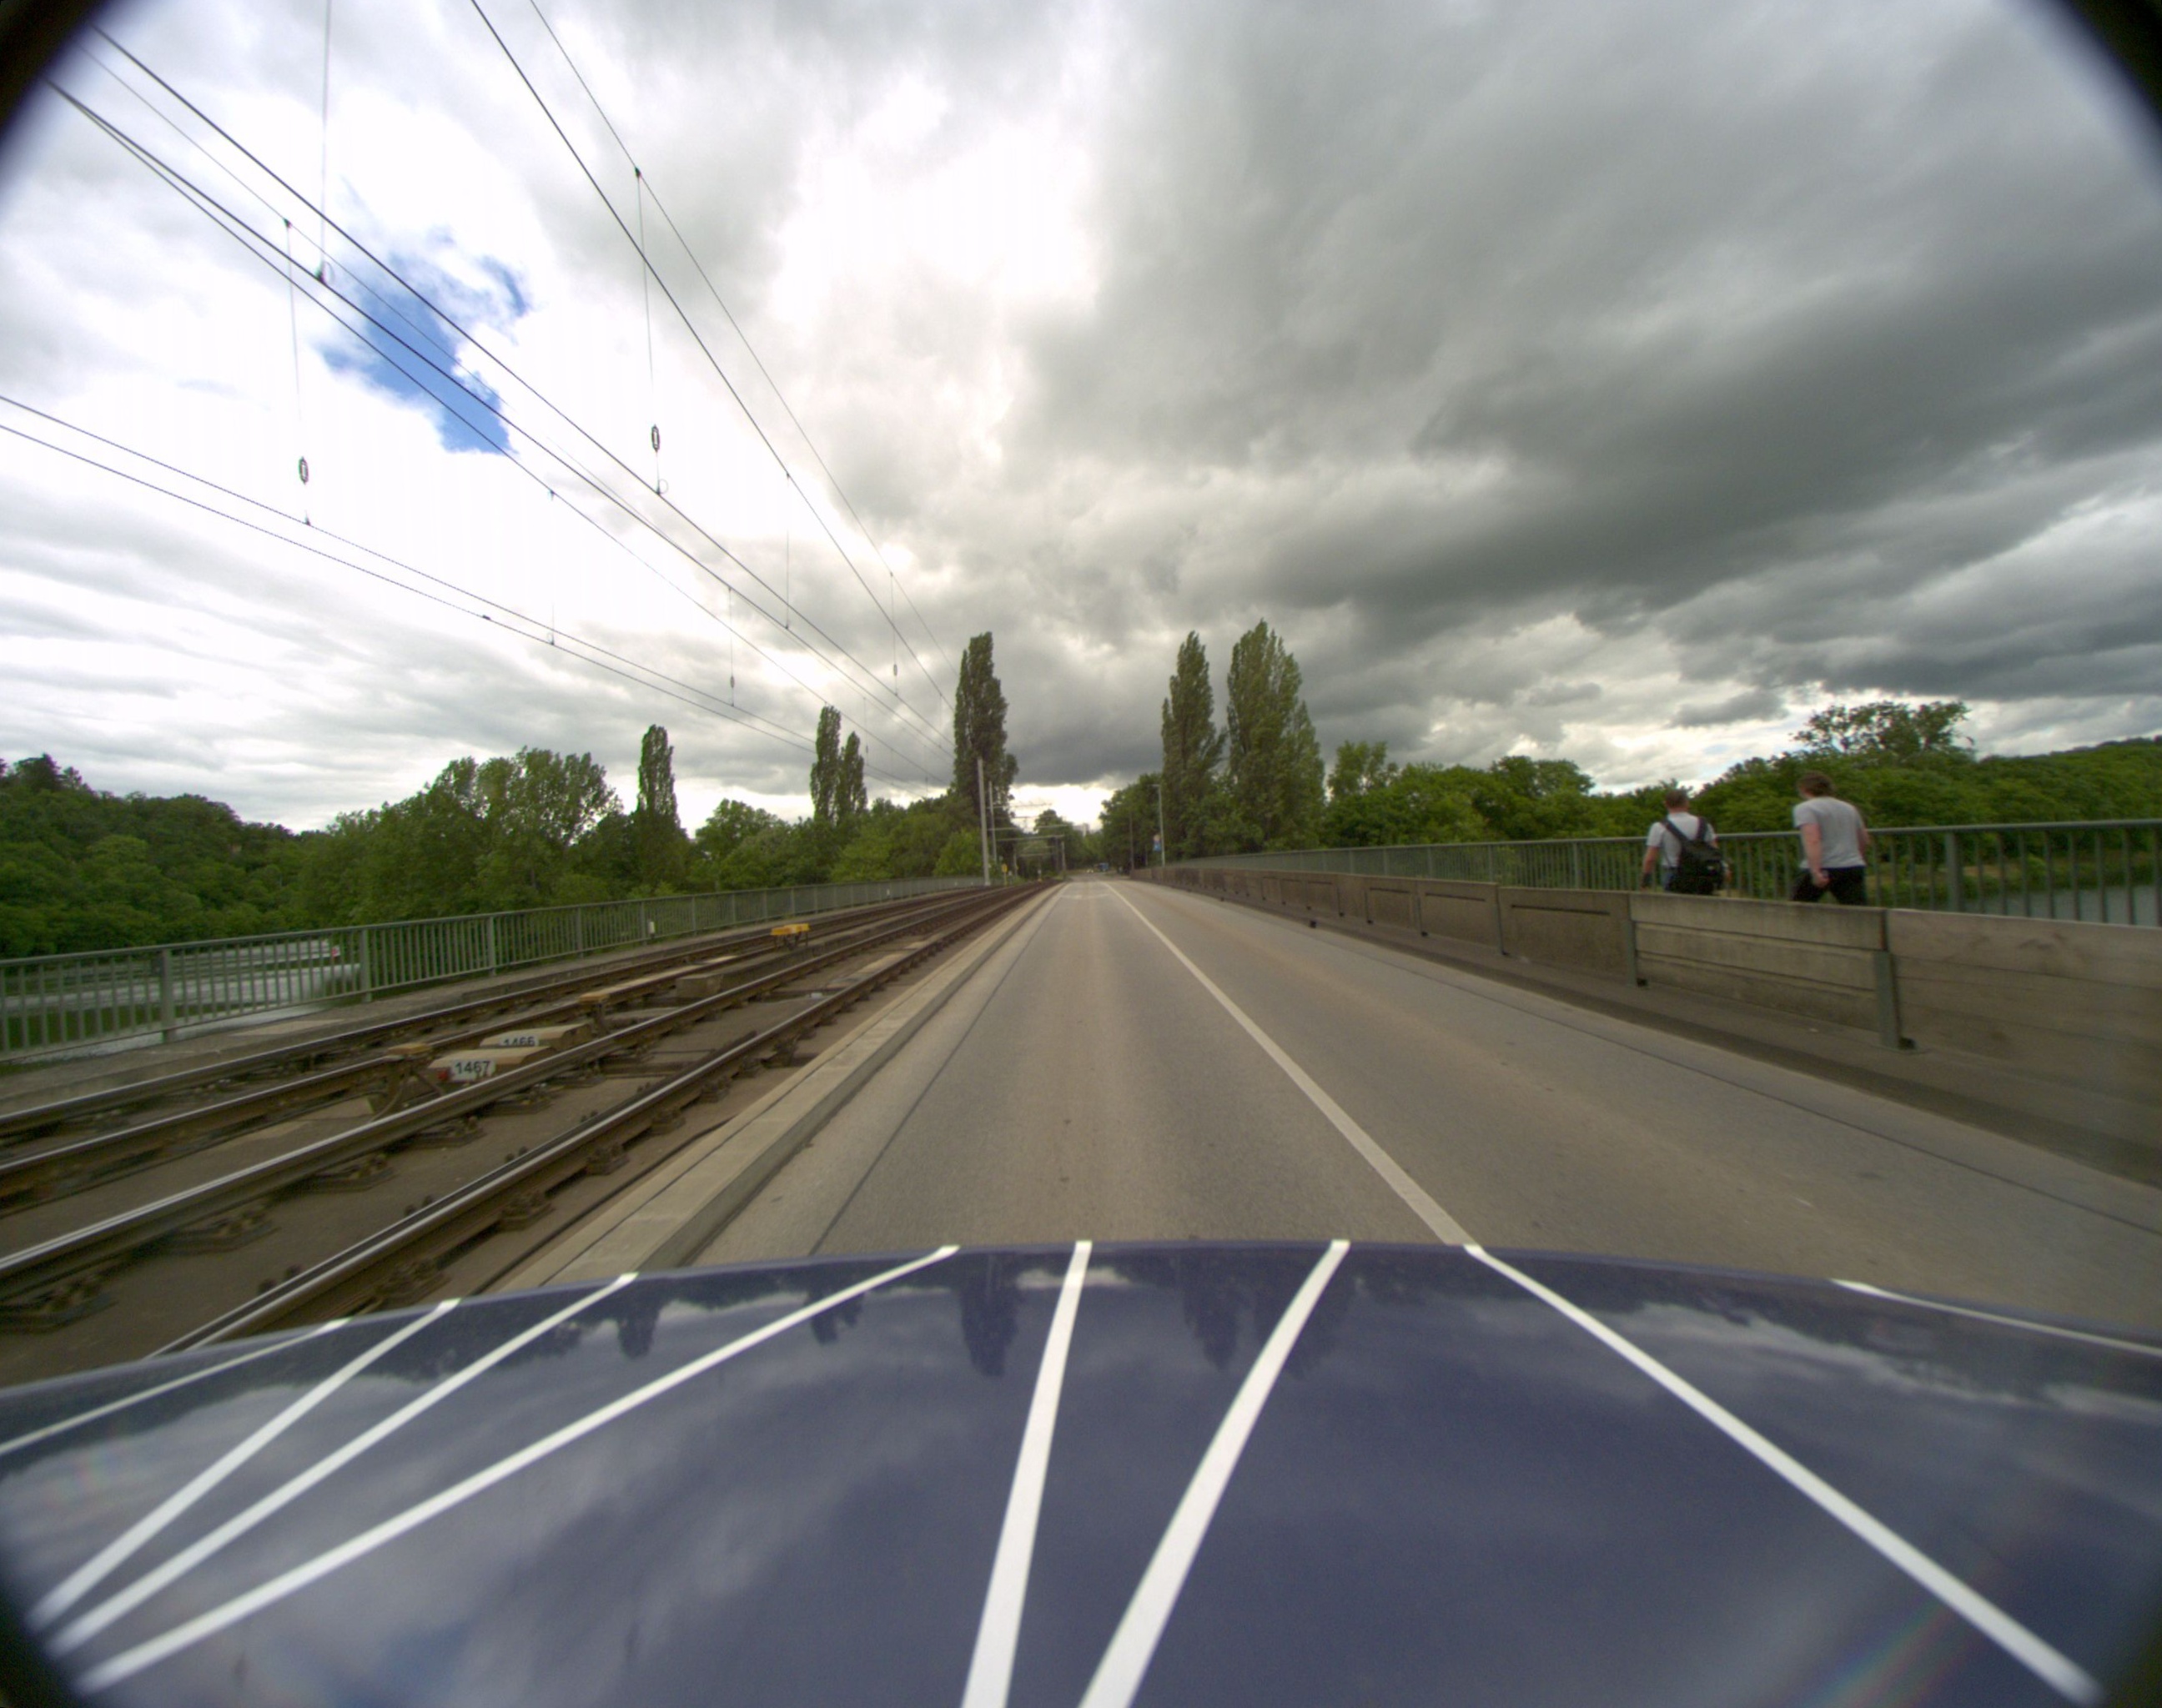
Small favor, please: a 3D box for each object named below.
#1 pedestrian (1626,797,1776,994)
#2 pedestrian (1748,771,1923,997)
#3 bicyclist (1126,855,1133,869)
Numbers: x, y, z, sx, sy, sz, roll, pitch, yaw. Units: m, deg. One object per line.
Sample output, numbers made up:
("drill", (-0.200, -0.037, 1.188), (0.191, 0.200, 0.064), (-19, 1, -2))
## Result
("pedestrian", (5.703, 0.366, 7.031), (0.723, 1.691, 0.723), (-3, 0, 0))
("pedestrian", (6.514, 0.250, 6.602), (0.723, 1.829, 0.723), (-3, 0, 0))
("bicyclist", (6.811, 1.131, 106.056), (0.688, 1.936, 0.835), (-4, 0, -4))
